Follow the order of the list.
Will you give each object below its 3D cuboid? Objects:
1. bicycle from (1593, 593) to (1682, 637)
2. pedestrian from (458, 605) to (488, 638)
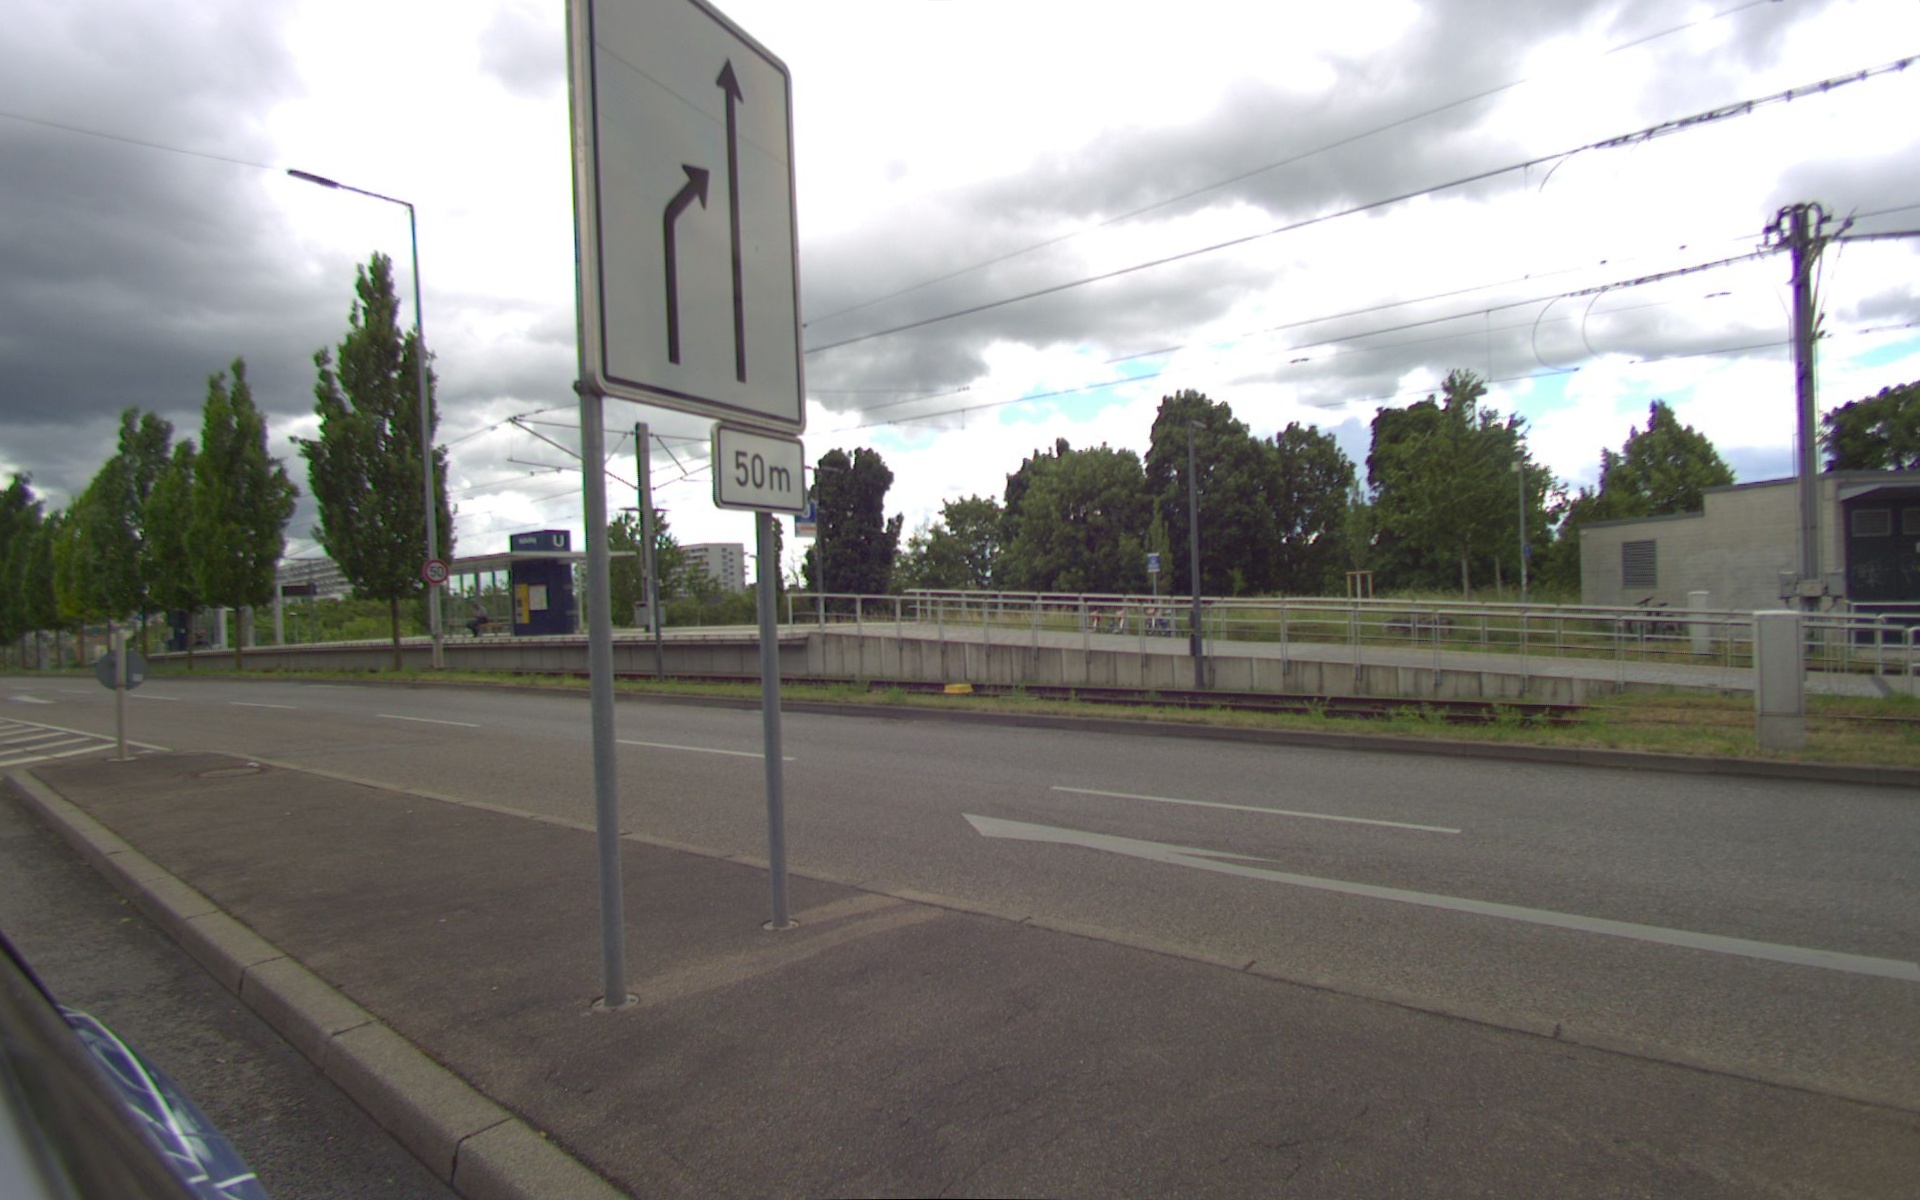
[{"bbox_3d":[18.197,0.392,27.252,0.668,1.114,2.260,-1,0,-7],"label":"bicycle"},{"bbox_3d":[-18.314,0.800,38.054,0.837,1.184,0.741,-1,0,40],"label":"pedestrian"}]
